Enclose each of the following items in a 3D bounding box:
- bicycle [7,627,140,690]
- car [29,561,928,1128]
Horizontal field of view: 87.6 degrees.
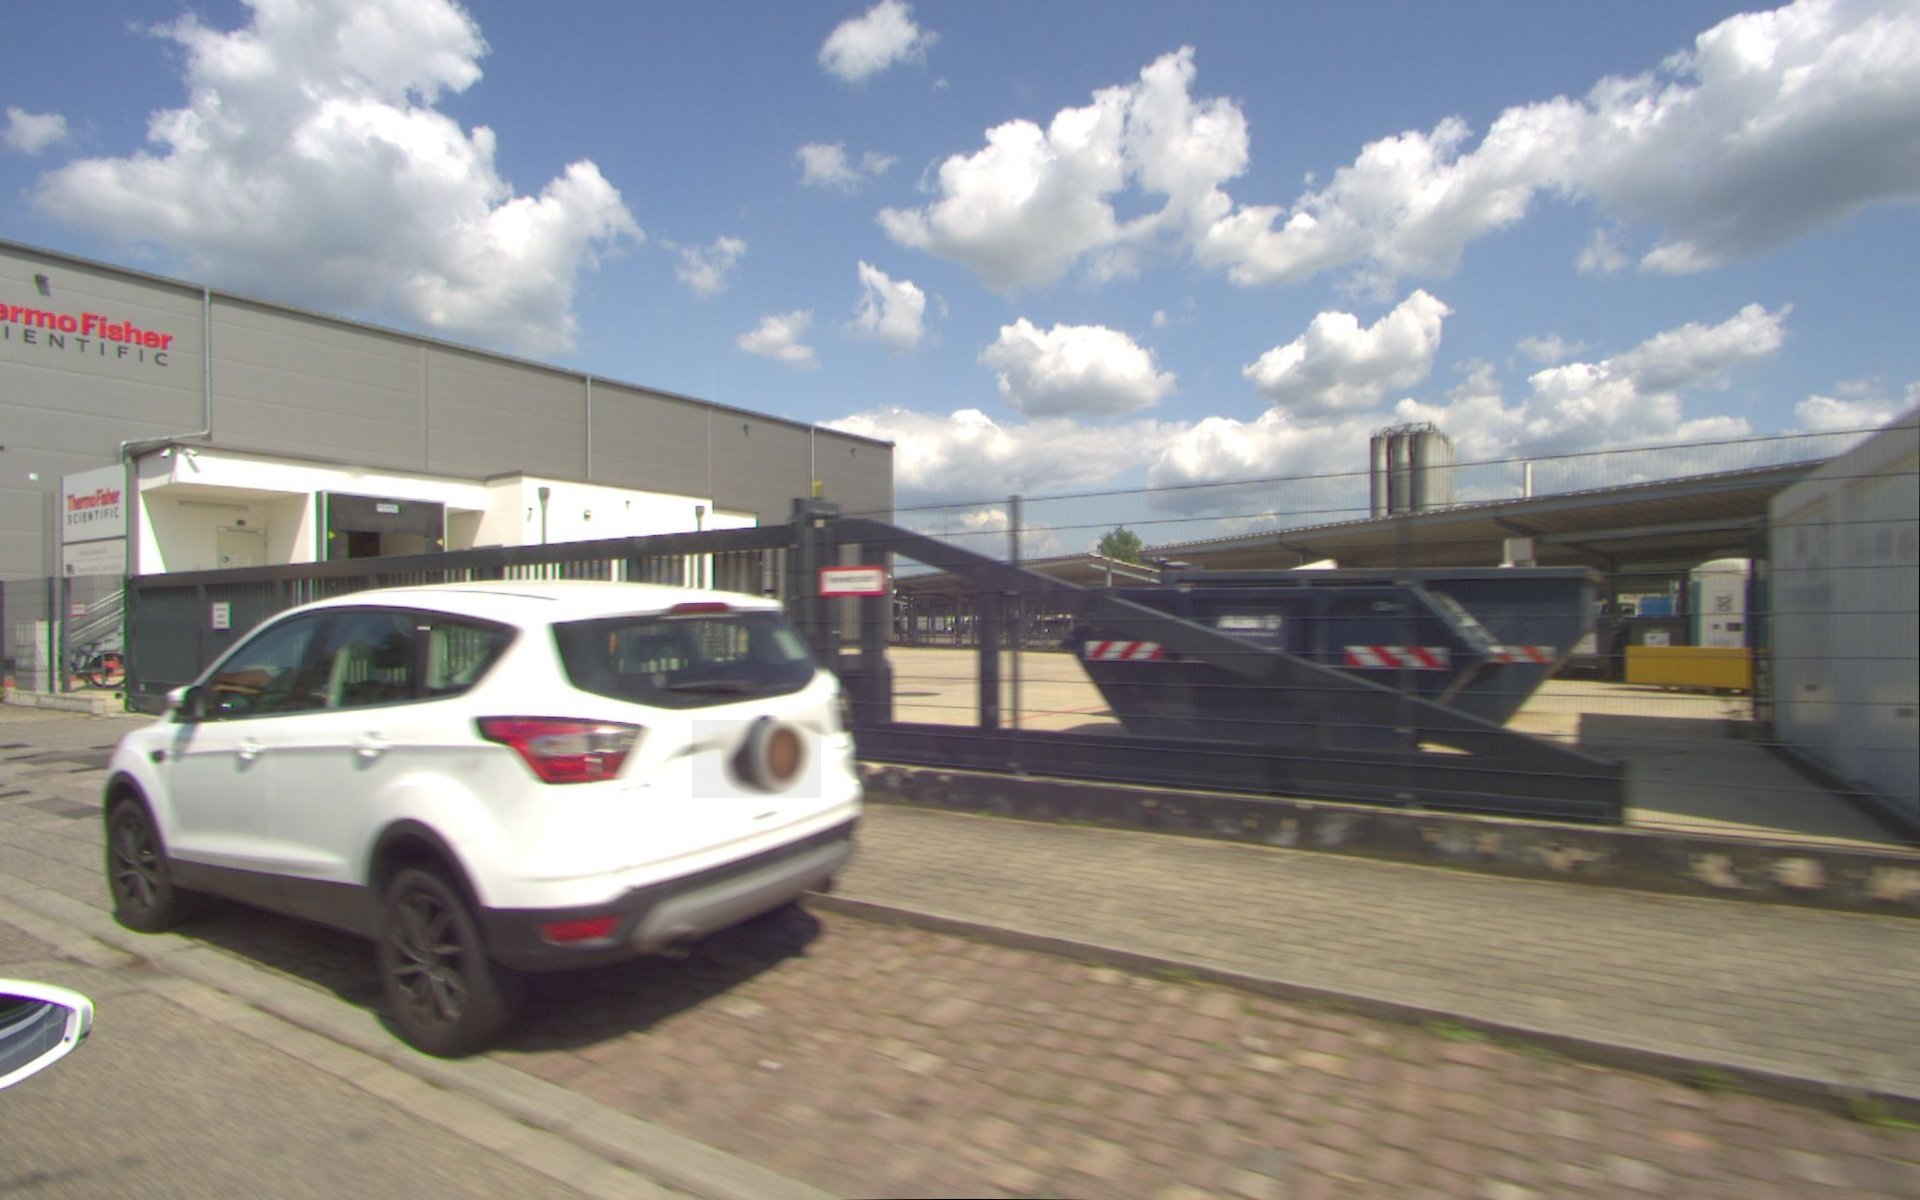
[{"bbox_3d":[-17.841,1.157,20.203,0.451,1.158,1.944,0,0,34],"label":"bicycle"},{"bbox_3d":[-2.617,0.748,5.072,4.613,1.716,1.931,-1,1,32],"label":"car"}]
